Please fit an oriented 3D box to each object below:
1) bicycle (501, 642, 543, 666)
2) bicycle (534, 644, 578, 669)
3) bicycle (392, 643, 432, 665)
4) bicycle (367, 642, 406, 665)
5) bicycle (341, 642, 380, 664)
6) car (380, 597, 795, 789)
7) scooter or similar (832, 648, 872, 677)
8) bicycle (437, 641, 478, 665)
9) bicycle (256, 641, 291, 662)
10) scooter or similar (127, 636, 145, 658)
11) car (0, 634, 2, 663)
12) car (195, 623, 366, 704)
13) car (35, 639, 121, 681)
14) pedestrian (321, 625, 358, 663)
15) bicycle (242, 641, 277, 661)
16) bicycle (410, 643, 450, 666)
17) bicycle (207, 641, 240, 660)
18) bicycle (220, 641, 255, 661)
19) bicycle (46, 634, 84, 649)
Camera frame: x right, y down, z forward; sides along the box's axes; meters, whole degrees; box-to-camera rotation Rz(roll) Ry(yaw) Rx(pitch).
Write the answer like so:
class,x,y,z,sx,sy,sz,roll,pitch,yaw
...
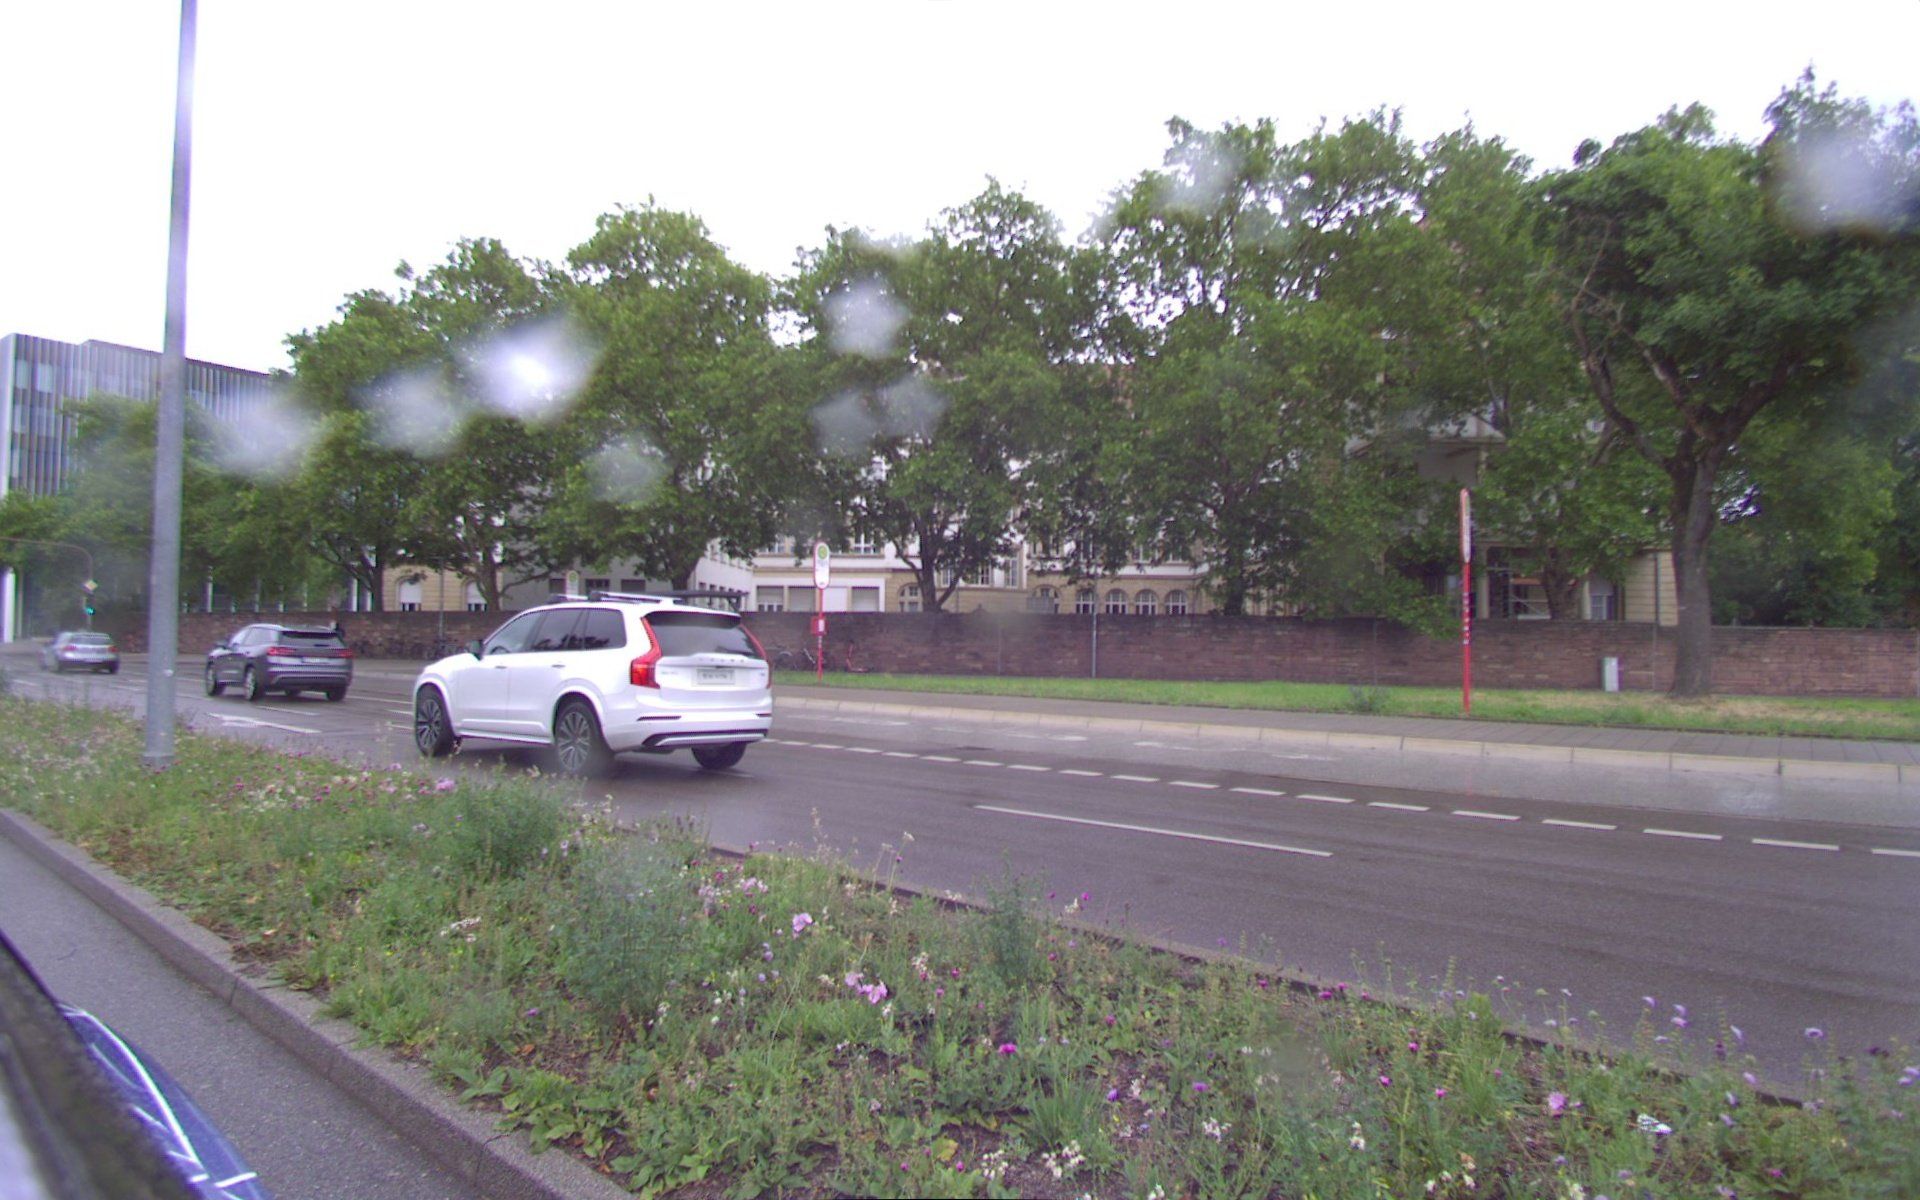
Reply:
class,x,y,z,sx,sy,sz,roll,pitch,yaw
bicycle,-18.467,2.271,42.675,1.692,0.990,0.727,-1,-2,27
bicycle,-16.637,2.310,41.689,1.692,0.990,0.727,-1,-2,27
bicycle,-24.632,2.422,45.492,1.692,0.990,0.727,-1,-2,27
bicycle,-26.203,2.426,46.215,1.692,0.990,0.727,-1,-2,27
bicycle,-27.794,2.445,46.928,1.692,0.990,0.727,-1,-2,27
car,-4.308,0.918,11.264,5.157,1.695,1.809,-1,-5,38
scooter or similar,-3.994,2.295,37.465,1.353,1.055,0.570,-1,-3,22
bicycle,-21.563,2.284,43.433,1.692,0.990,0.727,-1,-2,27
bicycle,-33.867,2.528,49.941,1.858,0.990,0.726,-1,-2,31
scooter or similar,-47.285,2.671,58.085,1.138,1.206,0.388,-1,4,32
car,-52.411,2.548,53.499,4.695,1.552,1.792,-1,-4,37
car,-15.402,1.408,22.853,4.600,1.648,1.973,-1,-5,41
car,-32.203,2.161,36.931,4.154,1.415,1.662,-1,-4,40
pedestrian,-28.133,1.991,45.884,1.395,1.708,0.862,-1,-3,32
bicycle,-35.536,2.576,51.343,1.692,0.990,0.727,-1,-2,27
bicycle,-23.475,2.402,44.799,1.692,0.990,0.727,-1,-2,27
bicycle,-38.738,2.633,53.233,1.692,0.990,0.727,-1,-2,27
bicycle,-37.128,2.593,52.012,1.692,0.990,0.727,-1,-2,27
bicycle,-73.827,3.446,83.526,0.595,1.231,2.267,-1,-3,25
